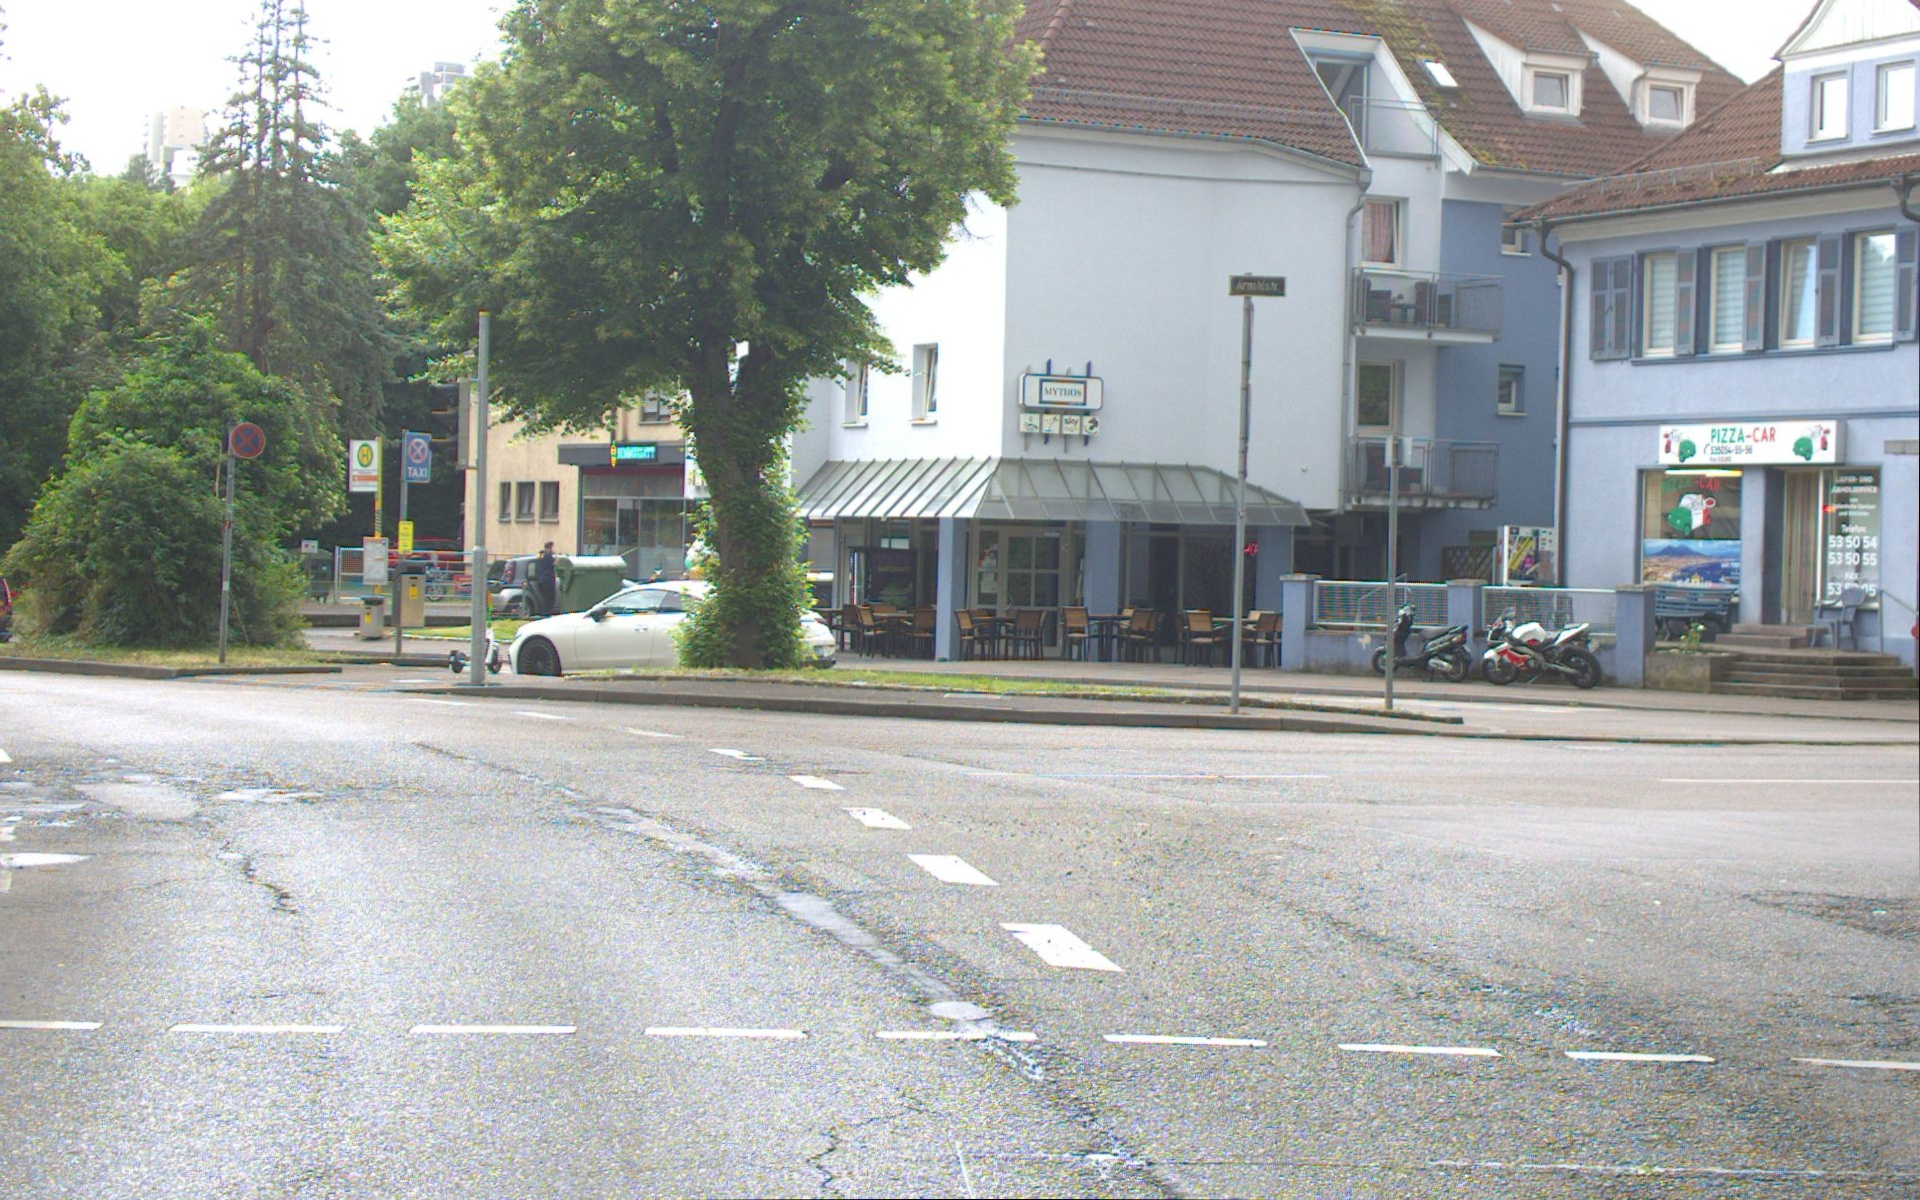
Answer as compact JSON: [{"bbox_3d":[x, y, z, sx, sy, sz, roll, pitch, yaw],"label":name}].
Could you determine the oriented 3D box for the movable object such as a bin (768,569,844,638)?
[{"bbox_3d":[-3.160,0.062,70.457,1.214,1.390,1.161,1,0,-22],"label":"movable object such as a bin"}]

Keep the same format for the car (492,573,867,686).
[{"bbox_3d":[-3.772,0.365,45.823,4.782,1.382,1.996,1,1,34],"label":"car"}]

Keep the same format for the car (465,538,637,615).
[{"bbox_3d":[-9.017,-0.512,75.759,3.412,1.625,1.625,1,1,-25],"label":"car"}]

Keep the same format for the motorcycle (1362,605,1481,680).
[{"bbox_3d":[6.712,0.612,50.065,1.724,1.028,0.488,2,1,43],"label":"motorcycle"}]

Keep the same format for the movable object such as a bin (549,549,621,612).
[{"bbox_3d":[-8.070,-0.420,73.910,1.216,1.340,0.995,1,1,-31],"label":"movable object such as a bin"}]

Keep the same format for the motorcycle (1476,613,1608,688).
[{"bbox_3d":[8.175,0.704,48.332,1.822,0.982,0.520,2,1,43],"label":"motorcycle"}]

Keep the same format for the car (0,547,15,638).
[{"bbox_3d":[-16.601,-0.177,53.545,3.489,1.399,1.571,3,1,28],"label":"car"}]

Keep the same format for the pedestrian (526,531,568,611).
[{"bbox_3d":[-8.953,-0.624,74.562,0.687,1.723,0.611,1,0,-32],"label":"pedestrian"}]

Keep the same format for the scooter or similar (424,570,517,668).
[{"bbox_3d":[-6.080,0.242,42.752,0.412,1.163,1.360,2,-2,26],"label":"scooter or similar"}]
